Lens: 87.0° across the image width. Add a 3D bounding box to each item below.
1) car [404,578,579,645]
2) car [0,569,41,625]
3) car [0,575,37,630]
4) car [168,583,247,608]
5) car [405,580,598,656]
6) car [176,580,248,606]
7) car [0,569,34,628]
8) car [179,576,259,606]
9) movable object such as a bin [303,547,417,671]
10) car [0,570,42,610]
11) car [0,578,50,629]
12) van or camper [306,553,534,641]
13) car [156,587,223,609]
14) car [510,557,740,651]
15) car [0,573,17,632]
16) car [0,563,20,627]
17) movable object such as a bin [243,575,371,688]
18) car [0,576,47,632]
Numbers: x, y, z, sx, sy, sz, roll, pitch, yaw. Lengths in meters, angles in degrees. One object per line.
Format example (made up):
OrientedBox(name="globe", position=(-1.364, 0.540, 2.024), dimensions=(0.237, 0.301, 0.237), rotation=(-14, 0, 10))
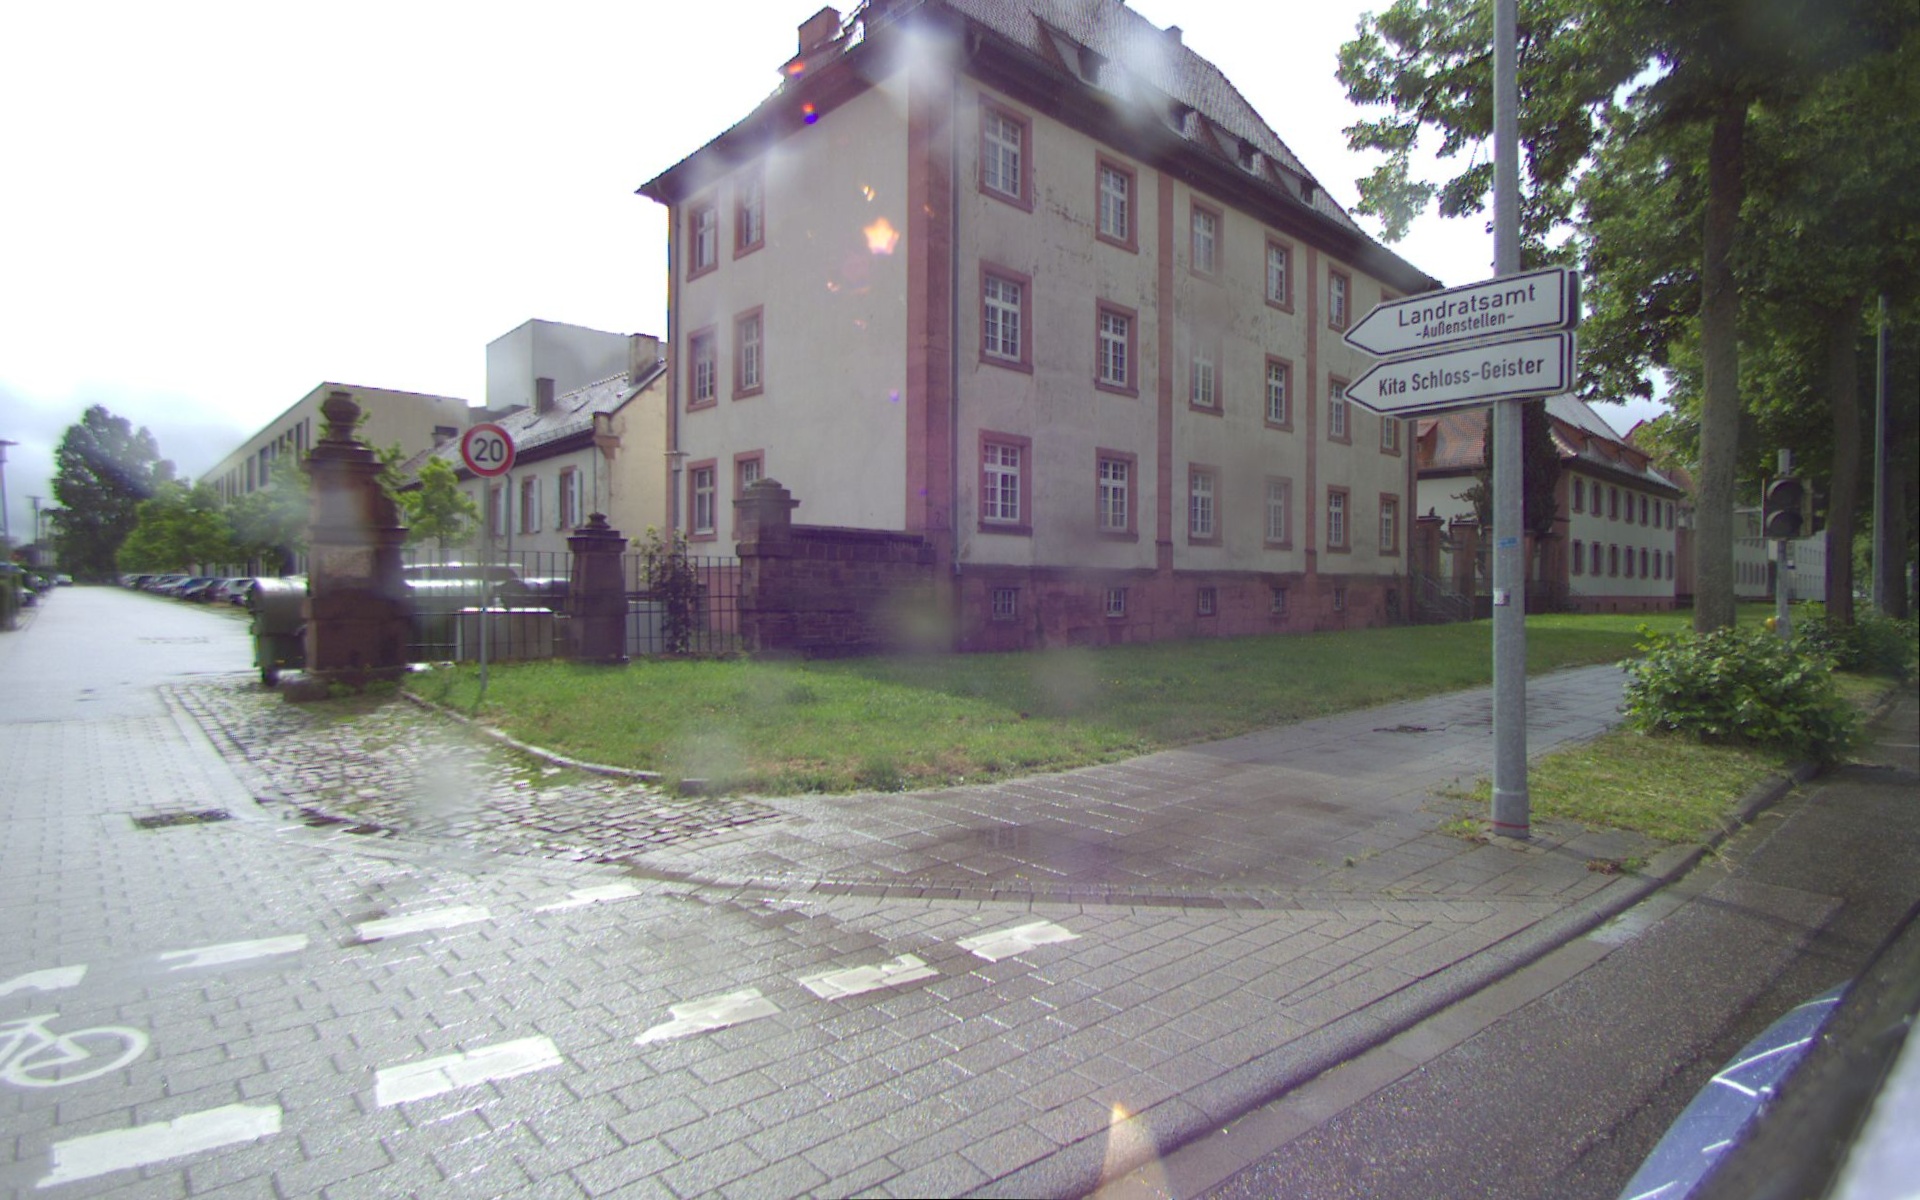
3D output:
OrientedBox(name="car", position=(-11.224, 0.234, 24.365), dimensions=(3.513, 1.464, 1.597), rotation=(0, 2, -42))
OrientedBox(name="car", position=(-29.810, -0.052, 29.983), dimensions=(3.740, 1.632, 1.757), rotation=(-2, 0, -41))
OrientedBox(name="car", position=(-36.284, 0.124, 36.915), dimensions=(3.740, 1.996, 1.757), rotation=(-2, 0, -41))
OrientedBox(name="car", position=(-48.205, -0.285, 64.845), dimensions=(3.931, 1.480, 1.784), rotation=(-2, 0, -41))
OrientedBox(name="car", position=(-9.893, 0.342, 21.950), dimensions=(3.513, 1.464, 1.597), rotation=(0, 2, -42))
OrientedBox(name="car", position=(-45.620, -0.437, 61.720), dimensions=(3.422, 1.489, 1.684), rotation=(-2, 0, -41))
OrientedBox(name="car", position=(-34.522, -0.014, 34.887), dimensions=(3.740, 2.033, 1.757), rotation=(-2, 0, -41))
OrientedBox(name="car", position=(-40.899, -0.500, 55.861), dimensions=(3.422, 1.489, 1.684), rotation=(-2, 0, -41))
OrientedBox(name="movable object such as a bin", position=(-7.475, 0.091, 12.611), dimensions=(1.078, 1.475, 0.800), rotation=(0, 2, -42))
OrientedBox(name="car", position=(-42.517, -0.395, 44.003), dimensions=(3.740, 1.671, 1.757), rotation=(-2, 0, -41))
OrientedBox(name="car", position=(-37.747, 0.162, 39.117), dimensions=(3.740, 1.923, 1.757), rotation=(-2, 0, -41))
OrientedBox(name="van or camper", position=(-14.284, -0.105, 26.979), dimensions=(5.096, 2.143, 1.792), rotation=(0, 2, -42))
OrientedBox(name="car", position=(-57.849, -0.145, 76.014), dimensions=(3.931, 1.480, 1.784), rotation=(-2, 0, -41))
OrientedBox(name="car", position=(-6.812, 0.020, 20.839), dimensions=(4.170, 1.743, 1.713), rotation=(-1, 2, -42))
OrientedBox(name="car", position=(-25.894, 0.128, 24.958), dimensions=(3.740, 1.471, 1.757), rotation=(-2, 0, -41))
OrientedBox(name="car", position=(-27.671, -0.084, 26.972), dimensions=(3.740, 1.713, 1.757), rotation=(-2, 0, -41))
OrientedBox(name="movable object such as a bin", position=(-9.211, 0.405, 14.271), dimensions=(1.367, 1.475, 1.108), rotation=(0, 2, -42))
OrientedBox(name="car", position=(-32.348, 0.180, 32.991), dimensions=(3.740, 1.814, 1.757), rotation=(-2, 0, -41))
